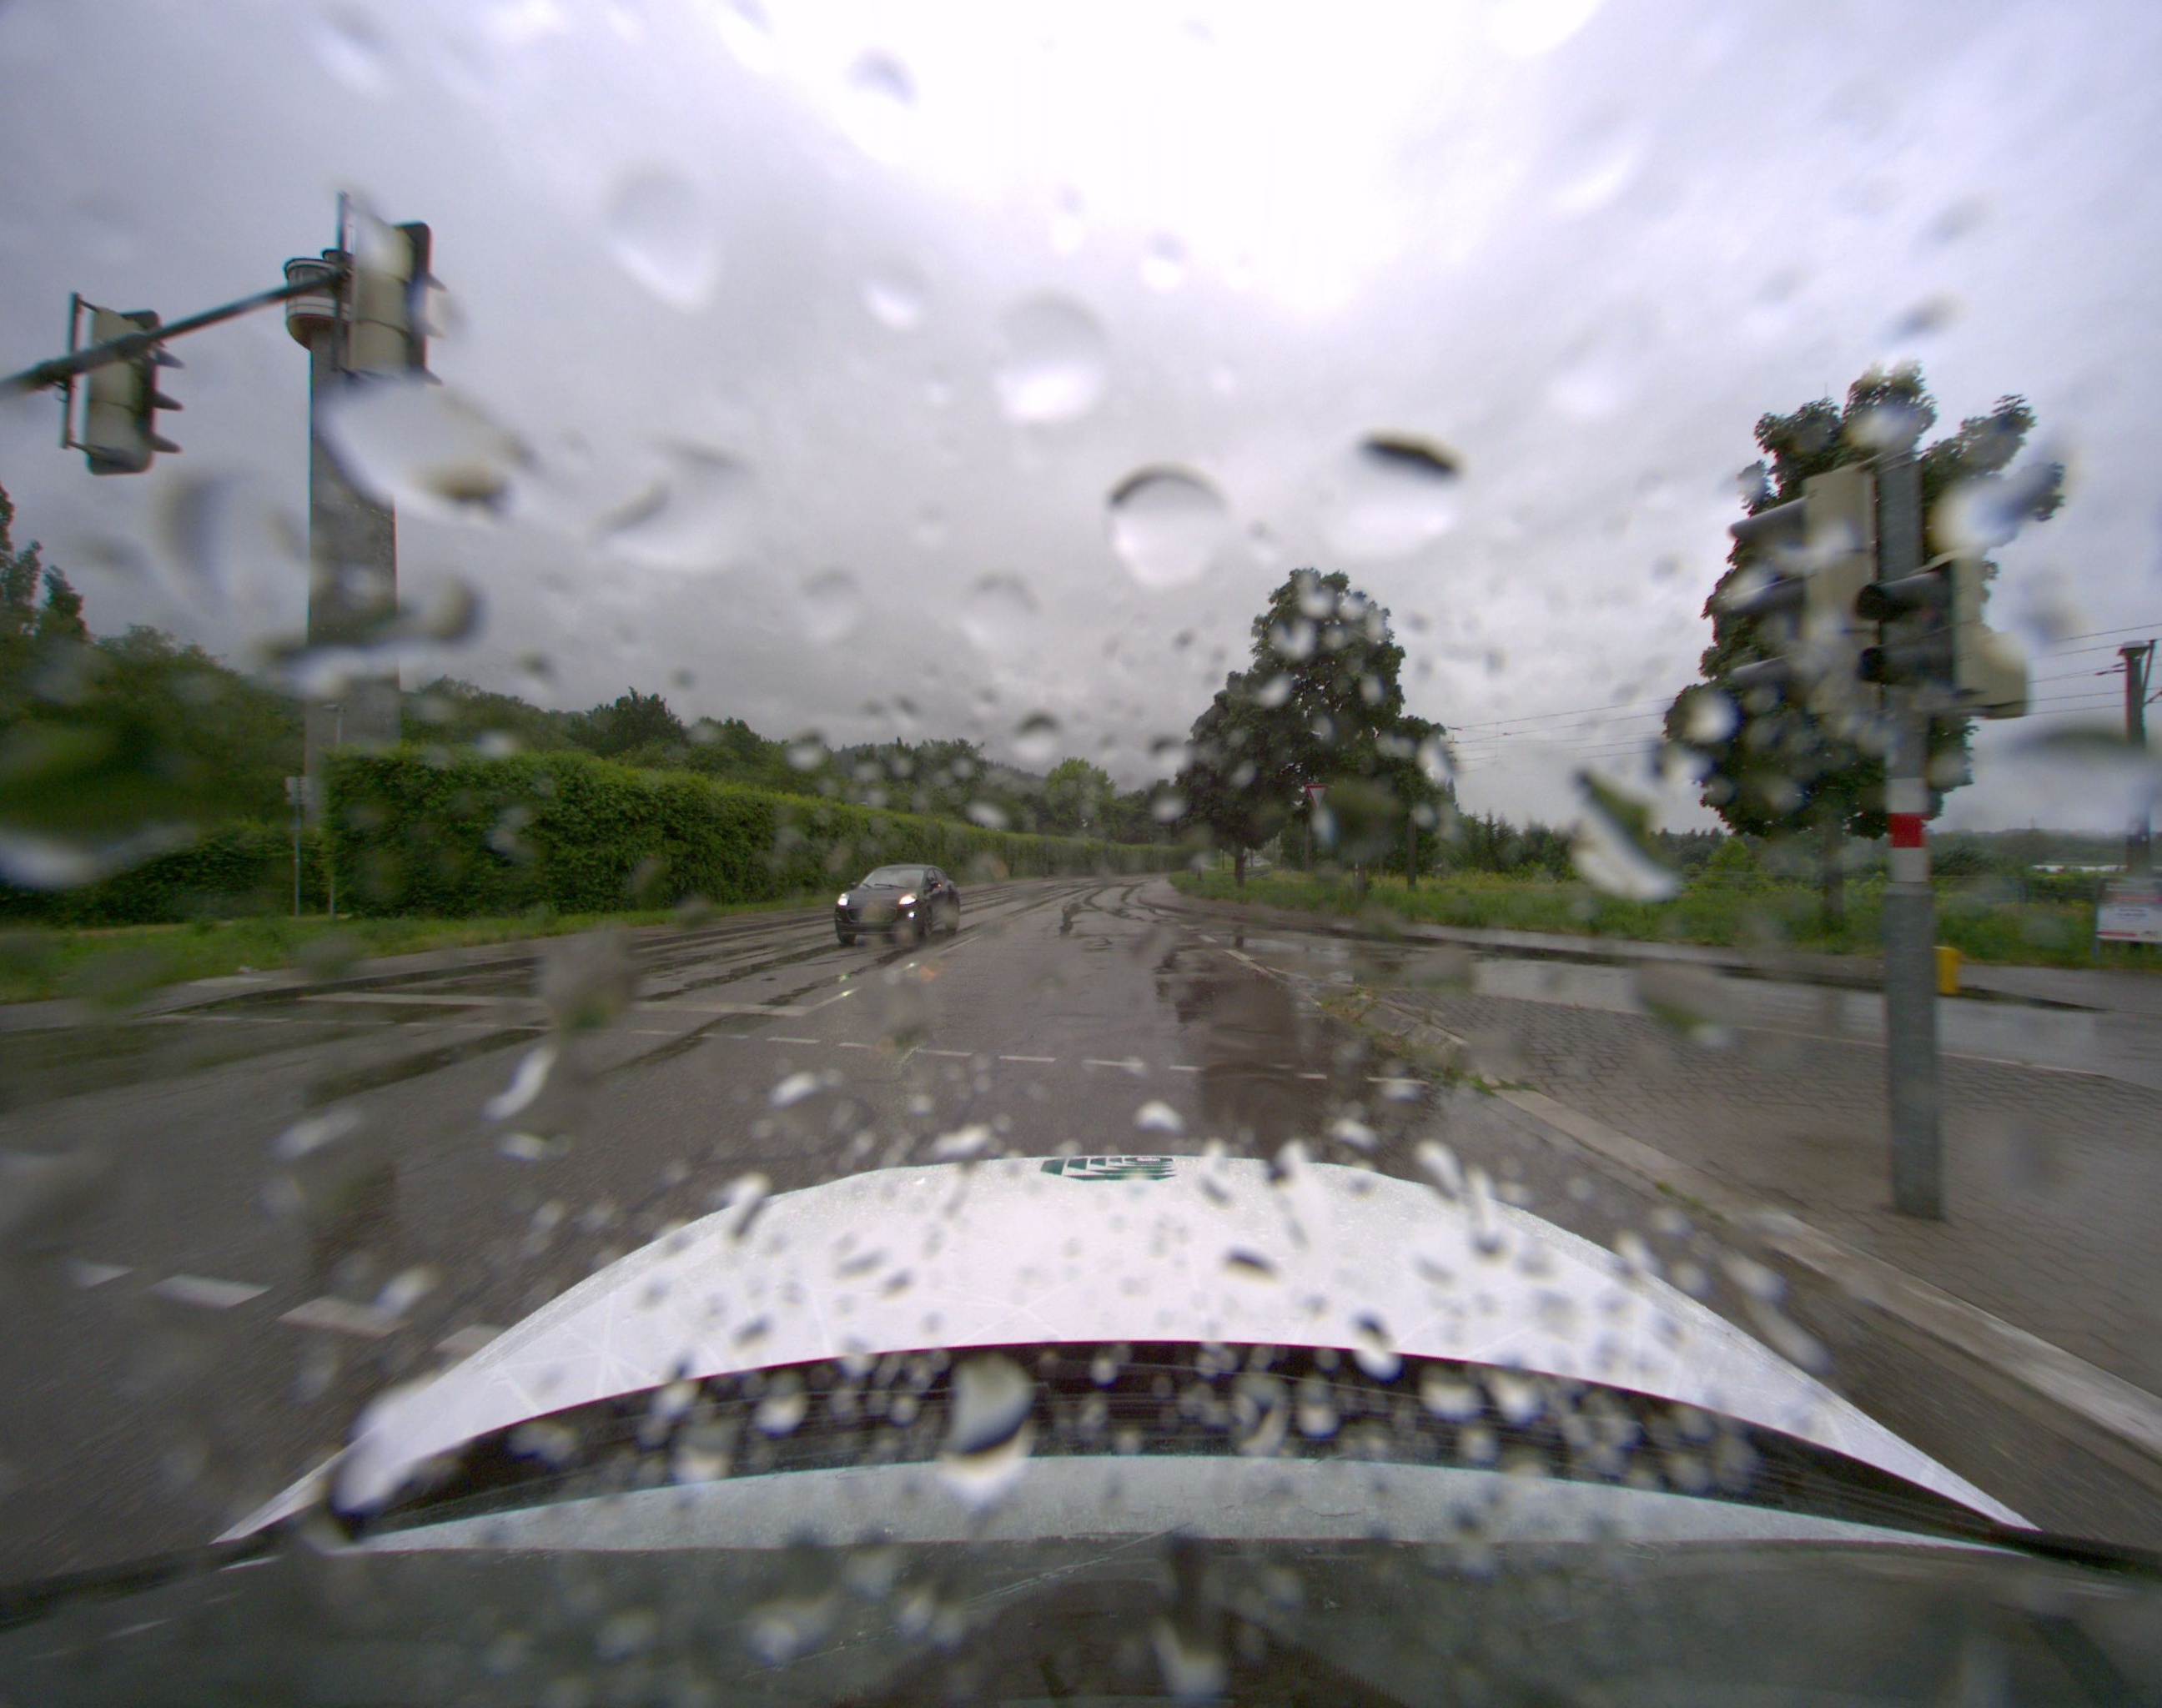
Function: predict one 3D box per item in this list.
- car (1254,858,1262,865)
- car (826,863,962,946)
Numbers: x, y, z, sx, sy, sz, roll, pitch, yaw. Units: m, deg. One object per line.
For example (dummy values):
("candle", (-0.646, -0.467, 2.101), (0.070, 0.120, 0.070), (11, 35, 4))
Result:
("car", (52.923, 2.155, 243.806), (1.938, 1.904, 4.139), (-1, 0, 18))
("car", (-3.810, 0.971, 17.332), (1.778, 1.505, 4.063), (-1, 0, 2))
